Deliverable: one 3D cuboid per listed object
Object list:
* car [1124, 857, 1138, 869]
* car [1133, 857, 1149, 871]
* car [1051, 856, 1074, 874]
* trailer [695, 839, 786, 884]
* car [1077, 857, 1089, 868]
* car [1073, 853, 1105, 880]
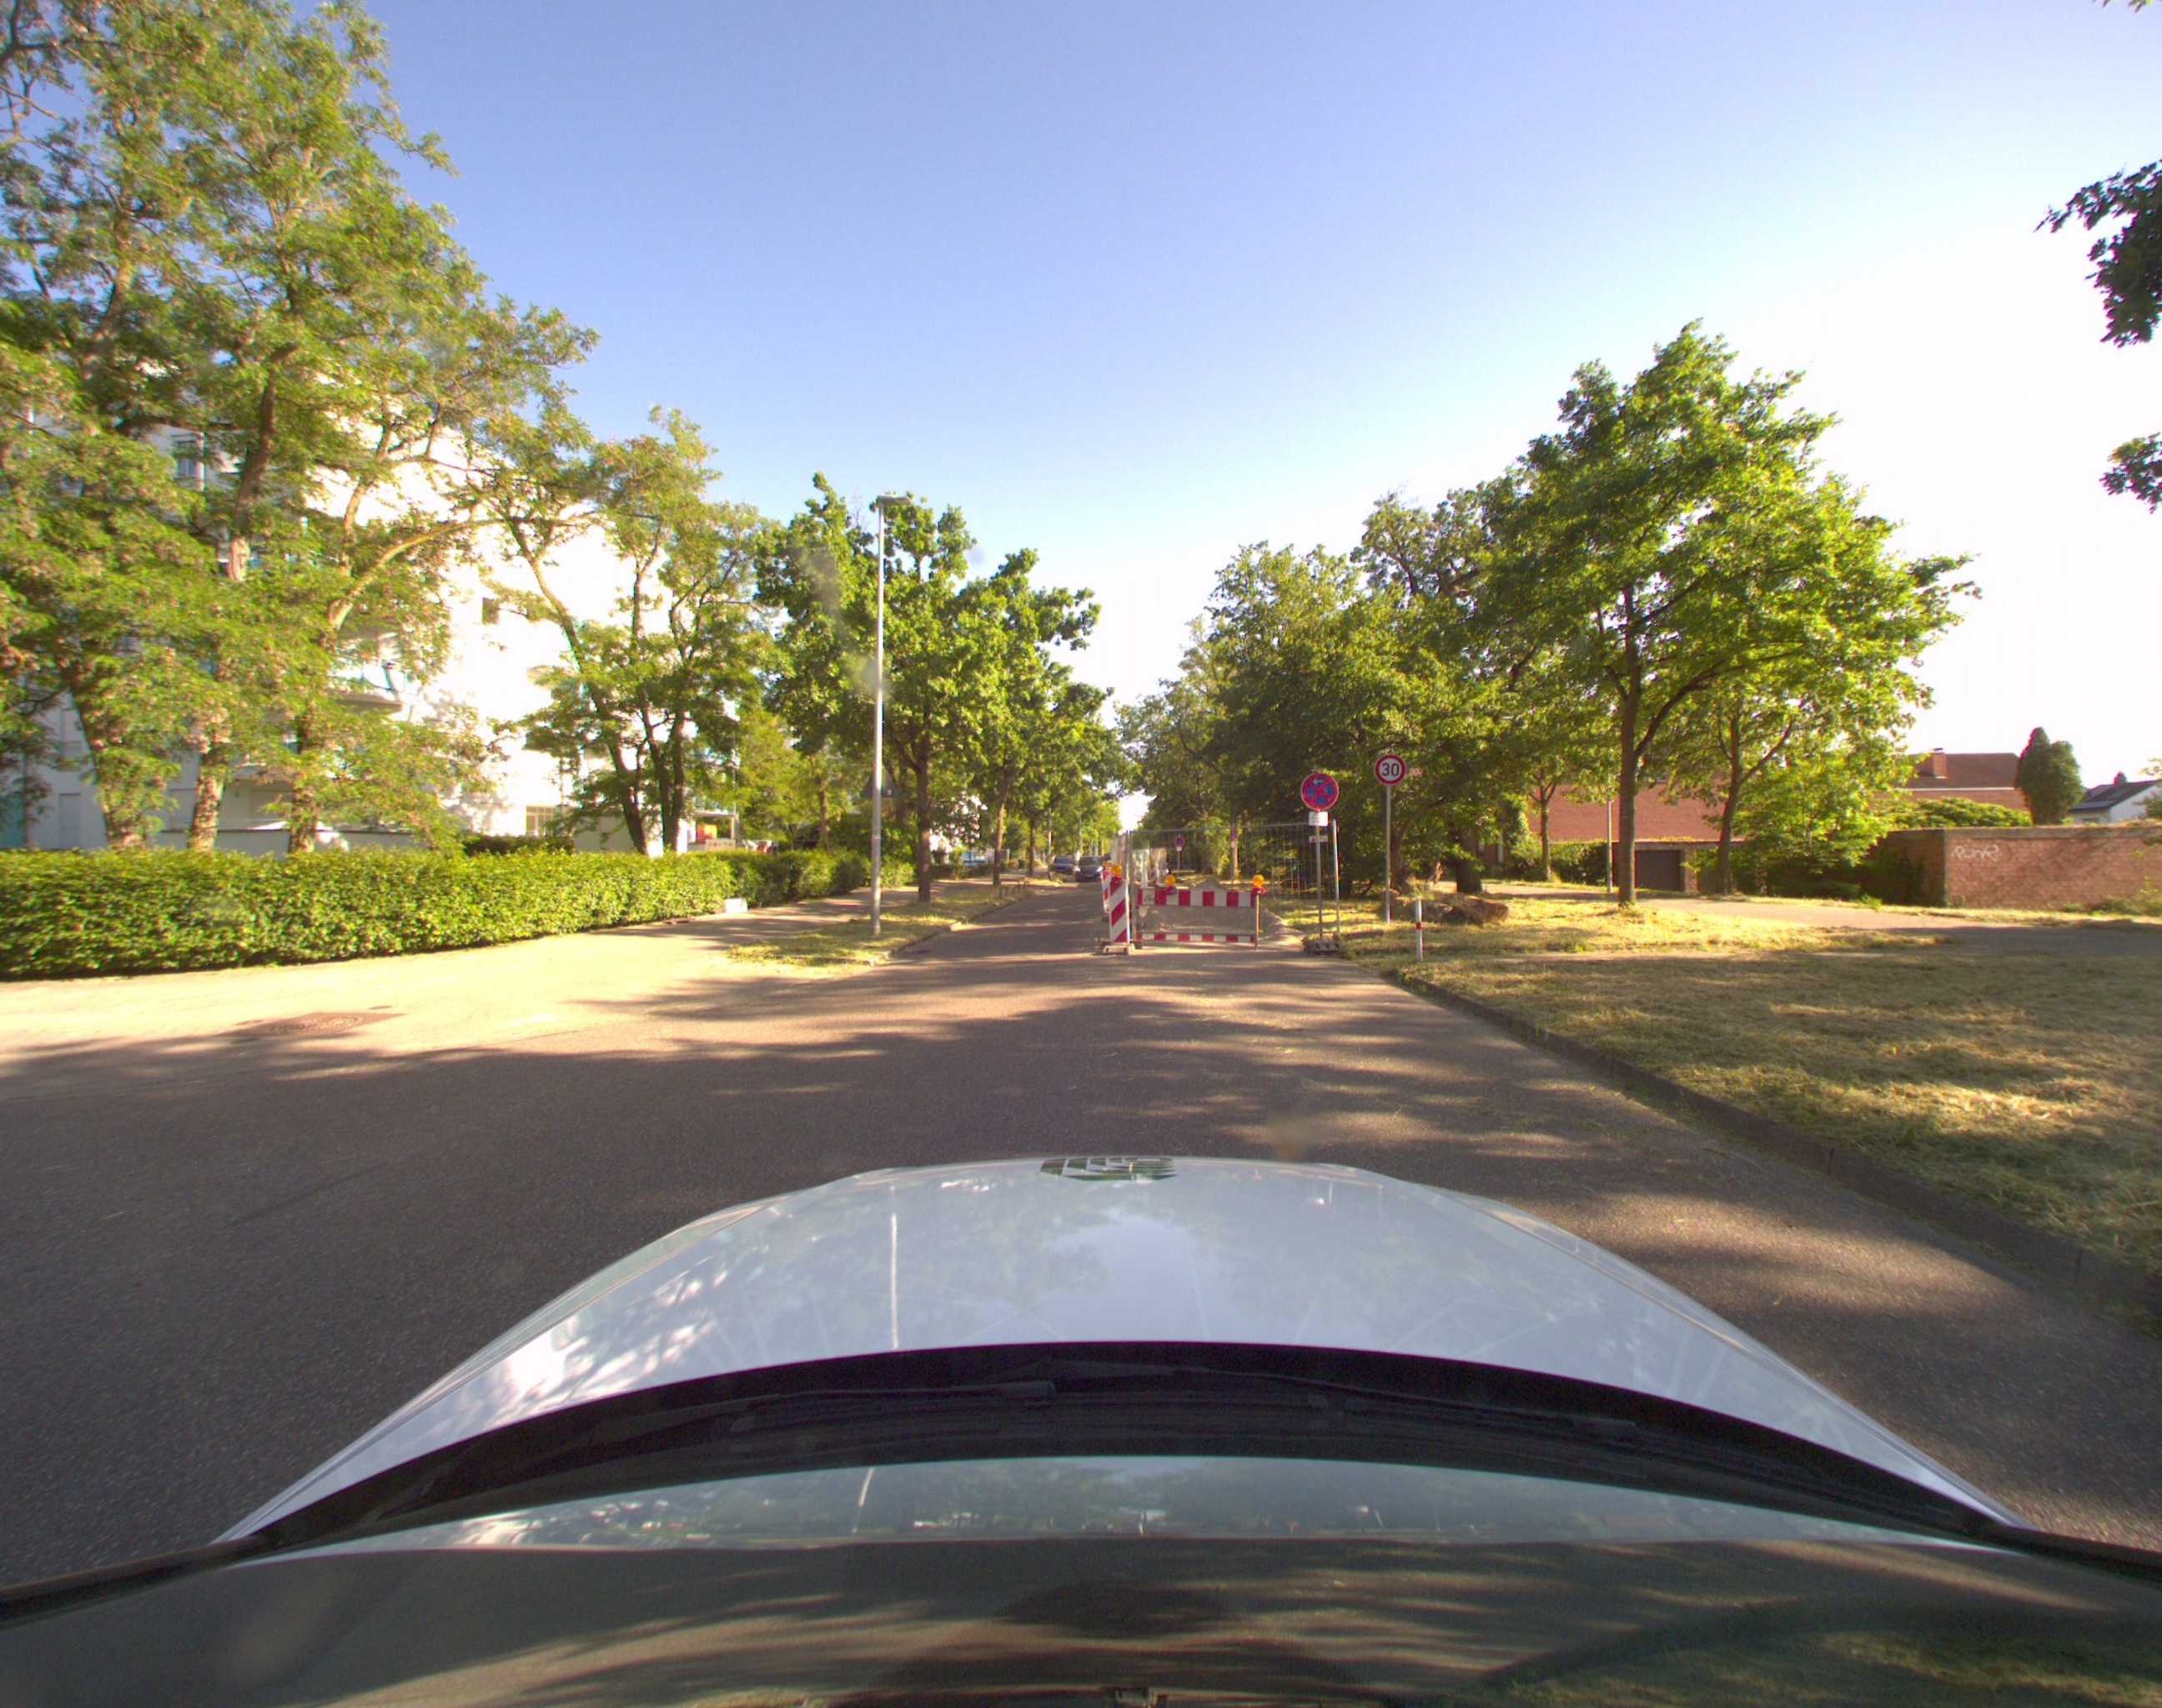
[{"bbox_3d":[5.540,0.991,90.641,1.356,1.302,3.481,1,-1,1],"label":"car"},{"bbox_3d":[5.709,0.930,77.647,1.356,1.302,3.481,1,-1,1],"label":"car"},{"bbox_3d":[-1.519,0.926,68.285,1.744,1.478,3.838,0,0,2],"label":"car"},{"bbox_3d":[-16.369,0.349,39.425,1.964,2.042,4.442,0,0,10],"label":"trailer"},{"bbox_3d":[0.256,1.116,103.426,1.356,1.302,3.481,1,-1,1],"label":"car"},{"bbox_3d":[0.573,0.795,53.108,1.814,1.625,4.496,-2,0,3],"label":"car"}]
